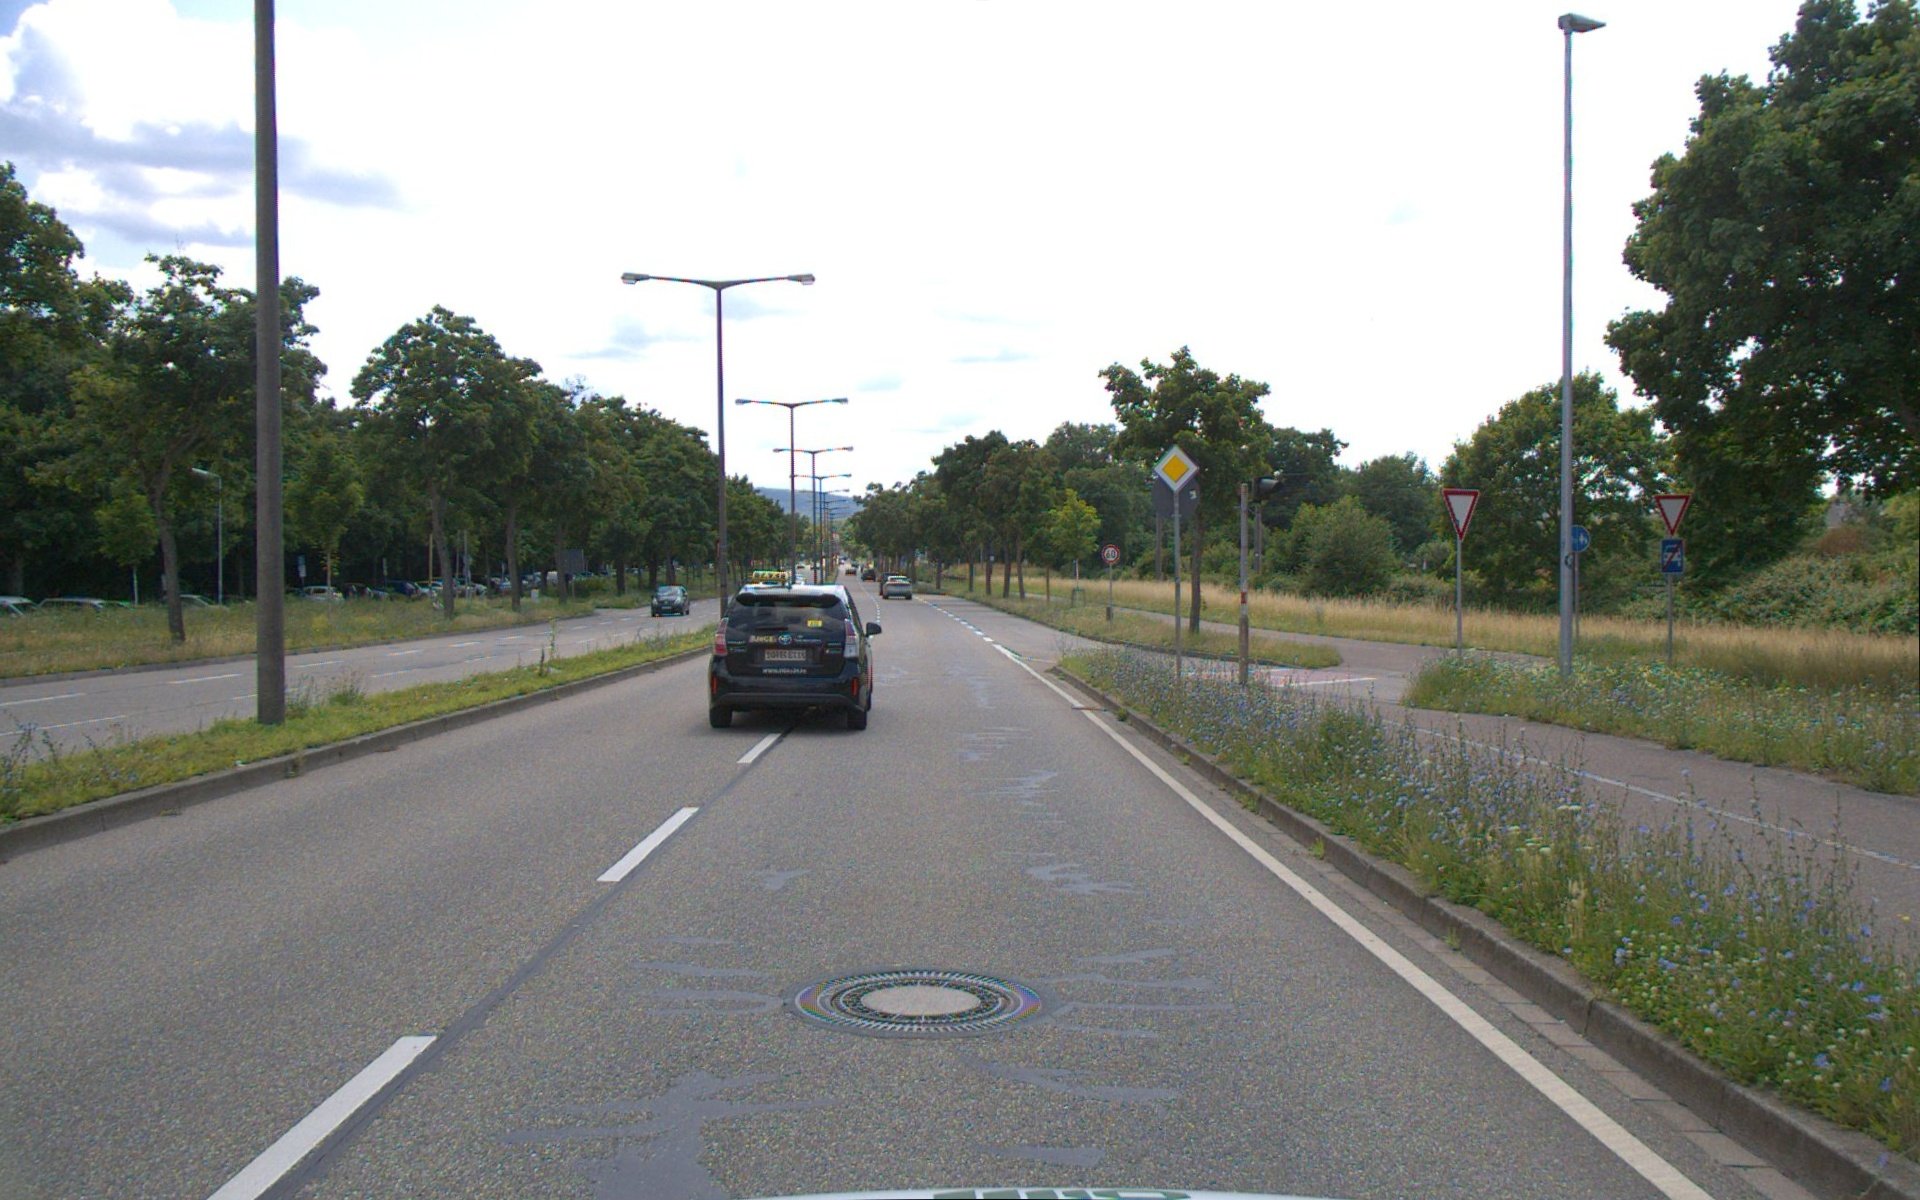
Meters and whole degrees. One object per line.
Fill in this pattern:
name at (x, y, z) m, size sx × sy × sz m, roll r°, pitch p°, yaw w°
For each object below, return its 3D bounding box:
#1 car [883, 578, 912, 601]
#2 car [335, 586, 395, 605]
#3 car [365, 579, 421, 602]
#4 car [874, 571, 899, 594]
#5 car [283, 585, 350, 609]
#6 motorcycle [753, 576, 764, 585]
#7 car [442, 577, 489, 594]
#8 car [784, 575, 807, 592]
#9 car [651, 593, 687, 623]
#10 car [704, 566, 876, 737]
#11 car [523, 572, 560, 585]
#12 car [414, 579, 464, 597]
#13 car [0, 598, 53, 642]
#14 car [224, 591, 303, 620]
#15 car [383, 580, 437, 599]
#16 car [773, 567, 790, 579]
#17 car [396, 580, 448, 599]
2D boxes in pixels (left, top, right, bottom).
car at (-4.504, -0.769, 118.707) m, size 1.954 × 1.534 × 3.997 m, roll 1°, pitch 2°, yaw -5°
car at (-42.938, -0.334, 119.354) m, size 3.710 × 1.269 × 1.785 m, roll 1°, pitch 1°, yaw -4°
car at (-43.491, -0.743, 126.888) m, size 3.707 × 1.595 × 1.786 m, roll 1°, pitch 1°, yaw 0°
car at (-5.933, -1.421, 133.467) m, size 1.953 × 1.690 × 3.999 m, roll 1°, pitch 2°, yaw -2°
car at (-42.402, -0.215, 109.080) m, size 3.710 × 1.453 × 1.785 m, roll 1°, pitch 1°, yaw -4°
motorcycle at (-18.413, -1.793, 151.301) m, size 0.736 × 0.785 × 2.670 m, roll 1°, pitch 2°, yaw -3°
car at (-45.163, -1.304, 151.070) m, size 3.707 × 1.412 × 1.786 m, roll 1°, pitch 1°, yaw 0°
car at (-14.769, -1.492, 148.519) m, size 1.774 × 1.422 × 4.731 m, roll 0°, pitch 2°, yaw -3°
car at (-14.398, 0.369, 81.819) m, size 1.671 × 1.452 × 3.664 m, roll 0°, pitch 0°, yaw -11°
car at (-1.860, 0.493, 19.142) m, size 1.744 × 1.713 × 3.998 m, roll 1°, pitch 2°, yaw -3°
car at (-47.623, -2.420, 188.215) m, size 3.707 × 1.412 × 1.786 m, roll 1°, pitch 1°, yaw 0°
car at (-44.765, -1.053, 142.211) m, size 3.707 × 1.412 × 1.786 m, roll 1°, pitch 1°, yaw 0°
car at (-39.513, 0.794, 67.440) m, size 3.909 × 1.653 × 1.998 m, roll 1°, pitch 1°, yaw -5°
car at (-39.506, 0.315, 93.819) m, size 3.708 × 1.534 × 1.785 m, roll 1°, pitch 1°, yaw -2°
car at (-44.100, -0.825, 132.604) m, size 3.707 × 1.412 × 1.786 m, roll 1°, pitch 1°, yaw 0°
car at (-23.807, -3.646, 220.368) m, size 1.841 × 1.534 × 3.798 m, roll 1°, pitch 2°, yaw 0°
car at (-44.248, -0.870, 136.044) m, size 3.707 × 1.412 × 1.786 m, roll 1°, pitch 1°, yaw 0°
